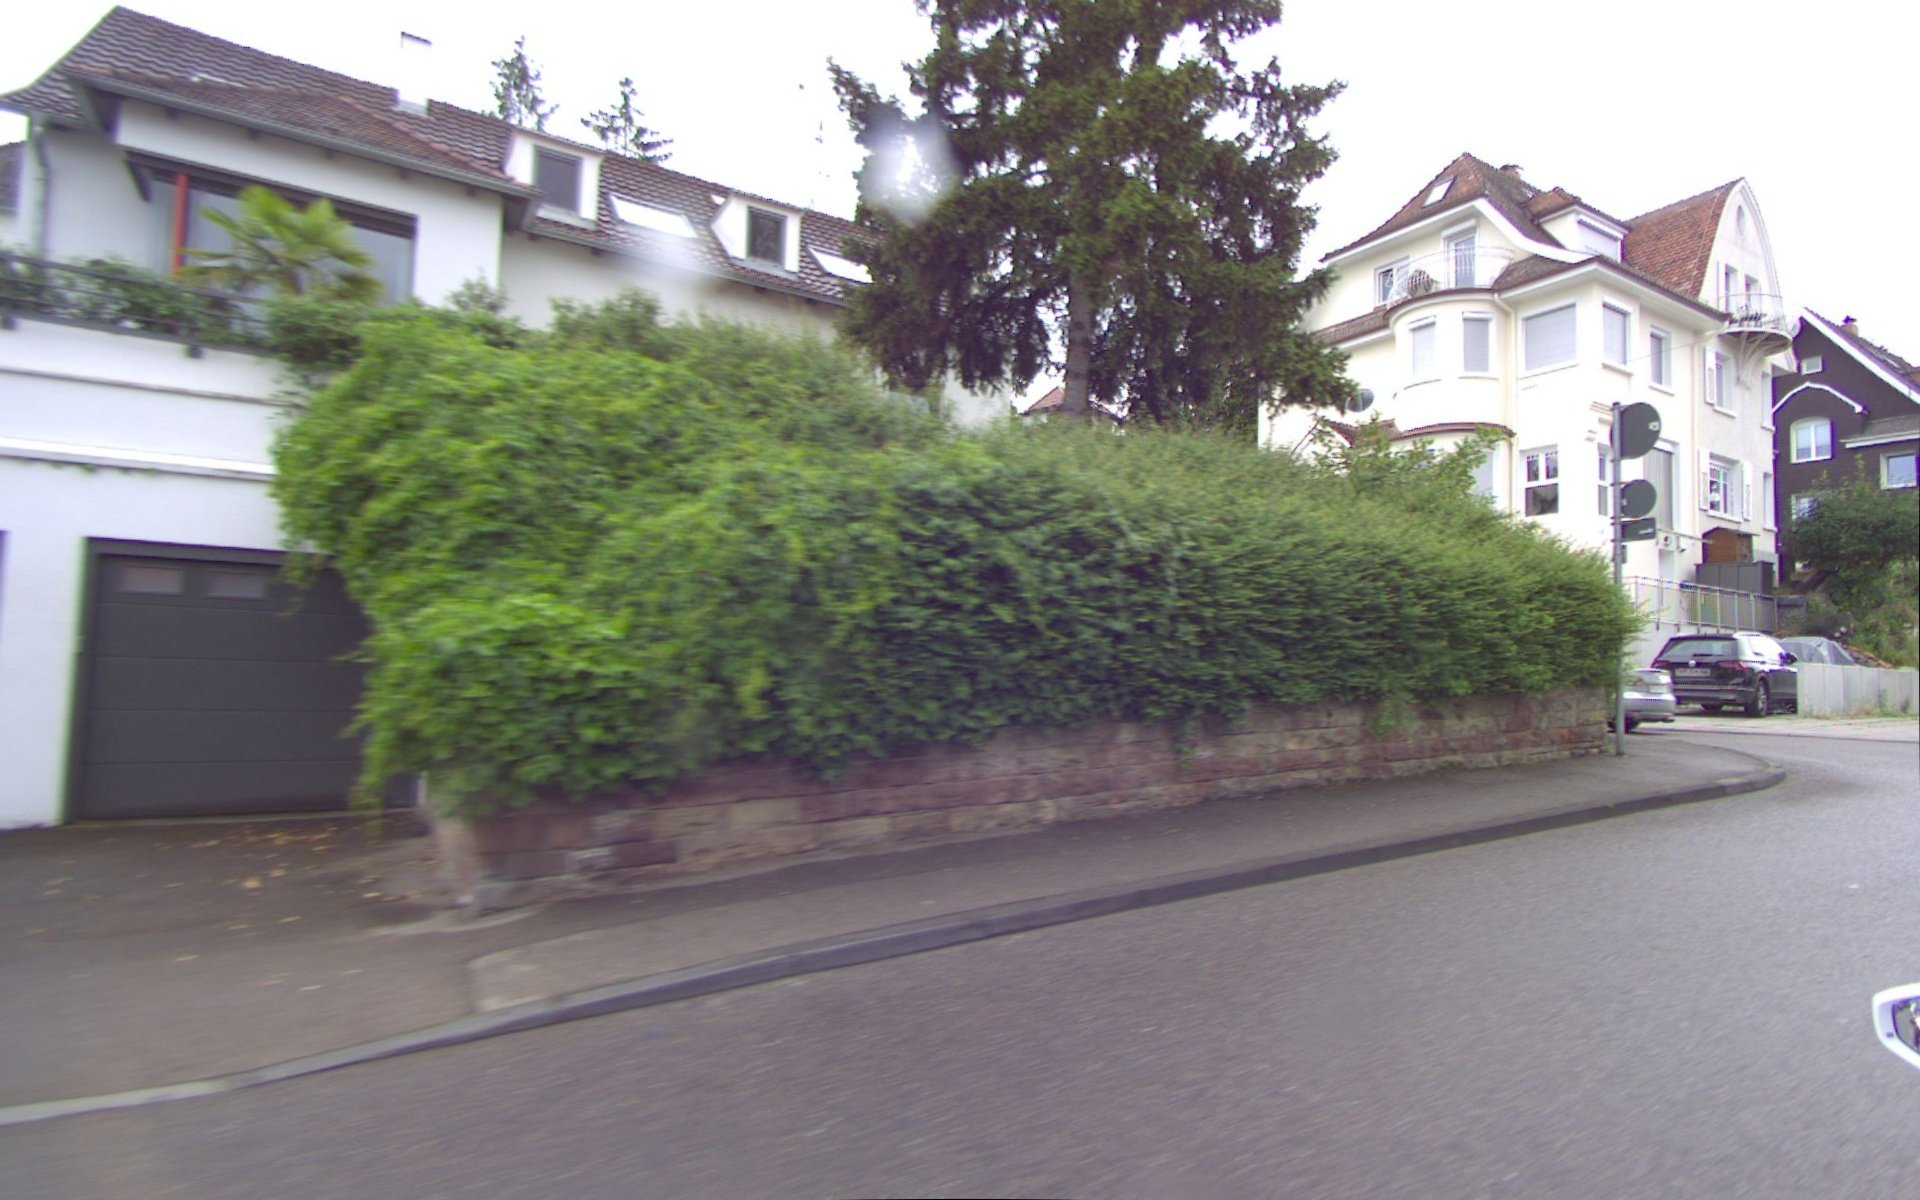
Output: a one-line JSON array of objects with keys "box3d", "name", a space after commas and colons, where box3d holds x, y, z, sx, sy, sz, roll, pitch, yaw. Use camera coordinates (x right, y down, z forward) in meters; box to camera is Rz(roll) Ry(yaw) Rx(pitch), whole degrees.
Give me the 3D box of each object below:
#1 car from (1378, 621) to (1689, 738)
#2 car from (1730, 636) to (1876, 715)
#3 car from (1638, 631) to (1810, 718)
[{"box3d": [9.842, 1.266, 17.548, 1.806, 1.577, 4.332, 2, 1, -37], "name": "car"}, {"box3d": [20.167, 1.754, 24.002, 3.961, 1.719, 1.754, 2, -2, -36], "name": "car"}, {"box3d": [15.894, 1.489, 20.850, 3.961, 1.639, 1.754, 2, -2, -36], "name": "car"}]
